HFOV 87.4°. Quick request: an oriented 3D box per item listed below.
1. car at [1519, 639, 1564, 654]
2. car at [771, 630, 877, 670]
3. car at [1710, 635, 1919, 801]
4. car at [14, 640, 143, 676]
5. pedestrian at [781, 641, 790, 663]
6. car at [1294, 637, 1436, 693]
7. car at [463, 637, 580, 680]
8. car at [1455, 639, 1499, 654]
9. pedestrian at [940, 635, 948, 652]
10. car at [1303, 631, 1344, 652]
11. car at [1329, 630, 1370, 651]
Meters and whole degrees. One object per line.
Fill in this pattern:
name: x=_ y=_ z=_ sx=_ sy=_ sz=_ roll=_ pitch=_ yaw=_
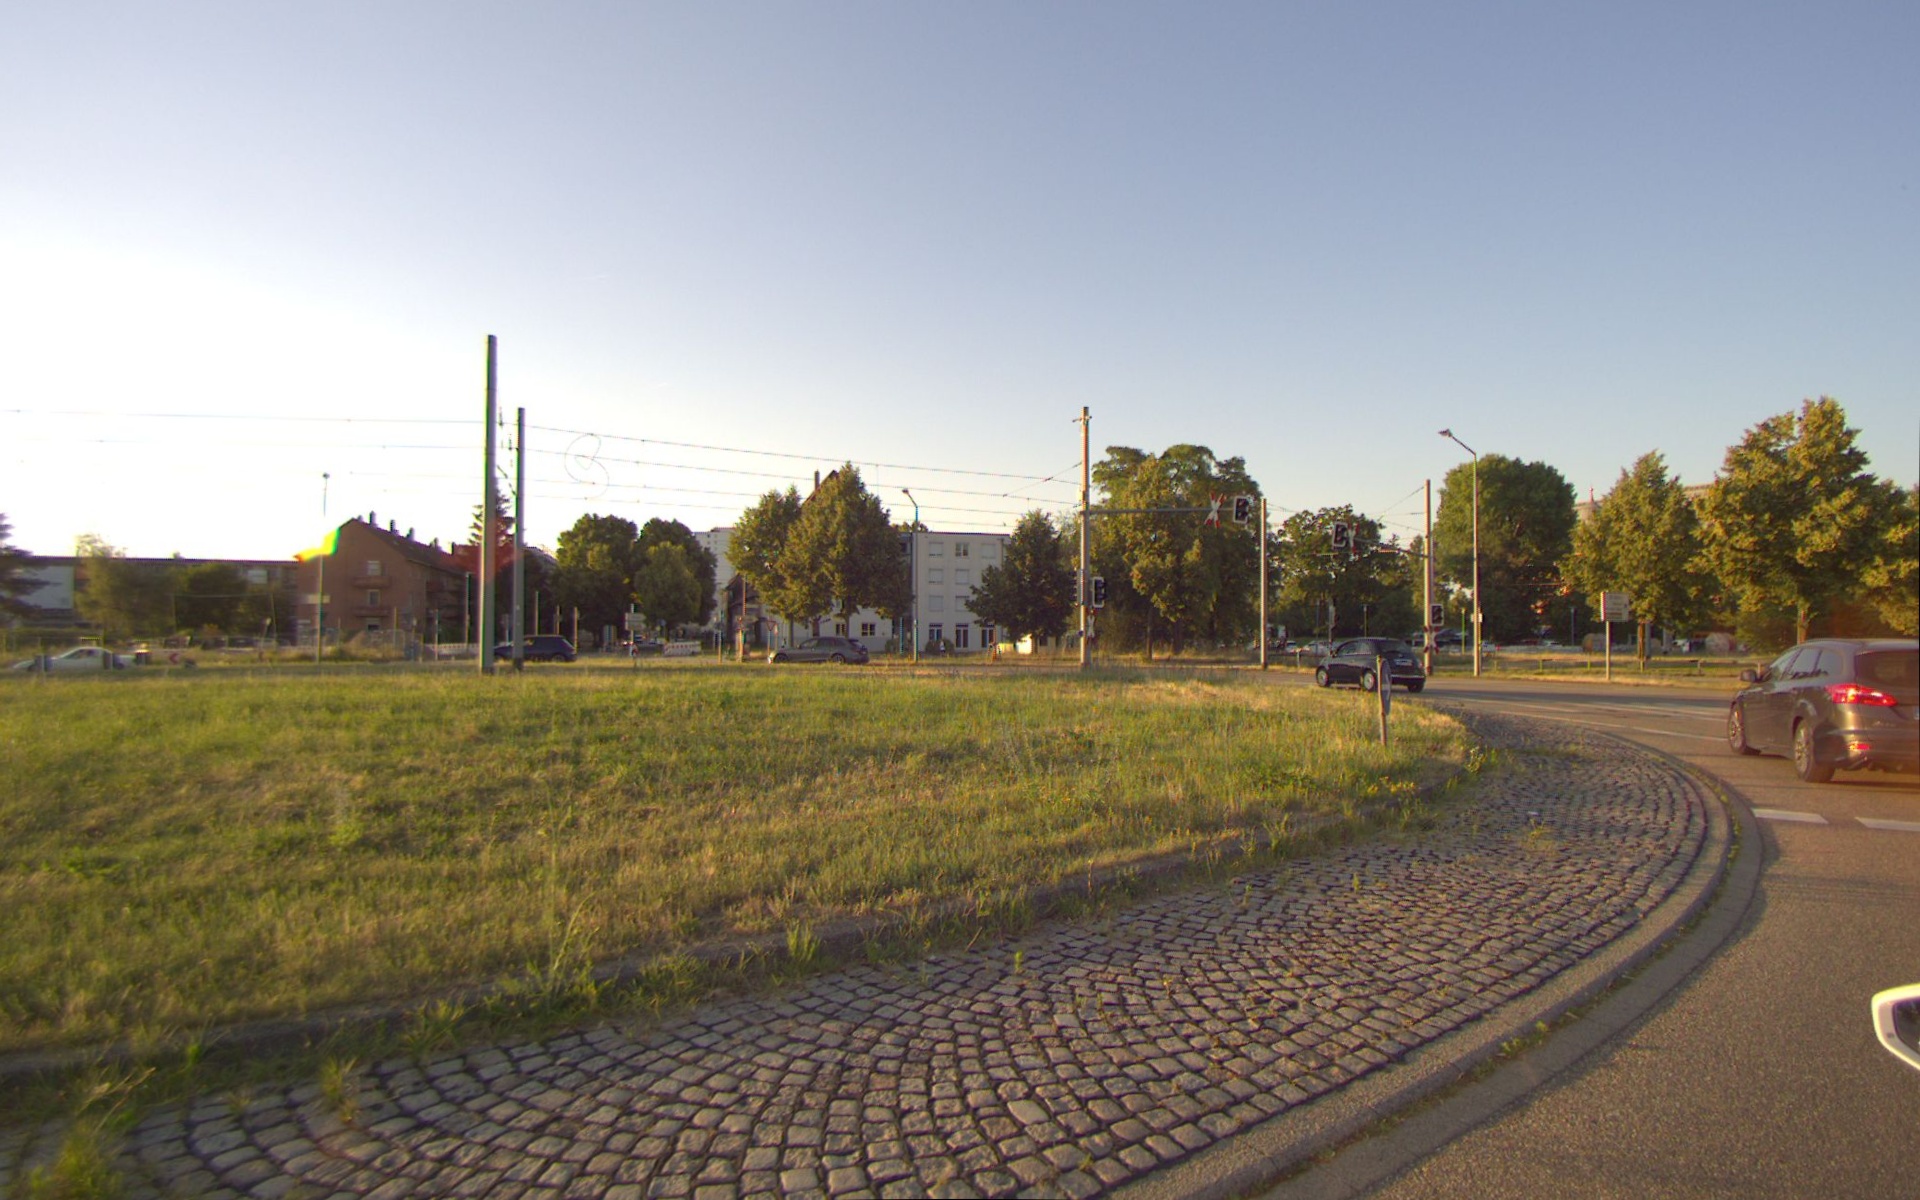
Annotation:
car: x=64.187 y=5.083 z=110.951 sx=1.969 sy=1.571 sz=3.985 roll=1 pitch=-2 yaw=-18
car: x=-6.199 y=2.287 z=45.929 sx=4.504 sy=1.770 sz=1.753 roll=-1 pitch=-2 yaw=12
car: x=9.782 y=1.139 z=10.964 sx=1.718 sy=1.486 sz=4.131 roll=-1 pitch=-2 yaw=25
car: x=-35.045 y=2.279 z=40.080 sx=3.746 sy=1.272 sz=1.562 roll=0 pitch=0 yaw=-38
pedestrian: x=-13.763 y=4.096 z=79.125 sx=0.586 sy=1.642 sz=0.564 roll=0 pitch=-1 yaw=-21
car: x=11.599 y=1.814 z=29.068 sx=1.722 sy=1.465 sz=4.124 roll=0 pitch=-2 yaw=-14
car: x=-19.329 y=2.556 z=44.474 sx=4.519 sy=1.770 sz=1.747 roll=0 pitch=-2 yaw=-14
car: x=55.613 y=5.003 z=108.059 sx=1.969 sy=1.571 sz=3.985 roll=1 pitch=-2 yaw=-18
pedestrian: x=-1.376 y=3.739 z=86.433 sx=0.540 sy=1.392 sz=0.356 roll=1 pitch=-1 yaw=-23
car: x=37.177 y=4.258 z=102.946 sx=1.968 sy=2.126 sz=3.986 roll=1 pitch=-2 yaw=-17
car: x=40.231 y=4.169 z=103.839 sx=1.968 sy=2.126 sz=3.986 roll=1 pitch=-2 yaw=-17
